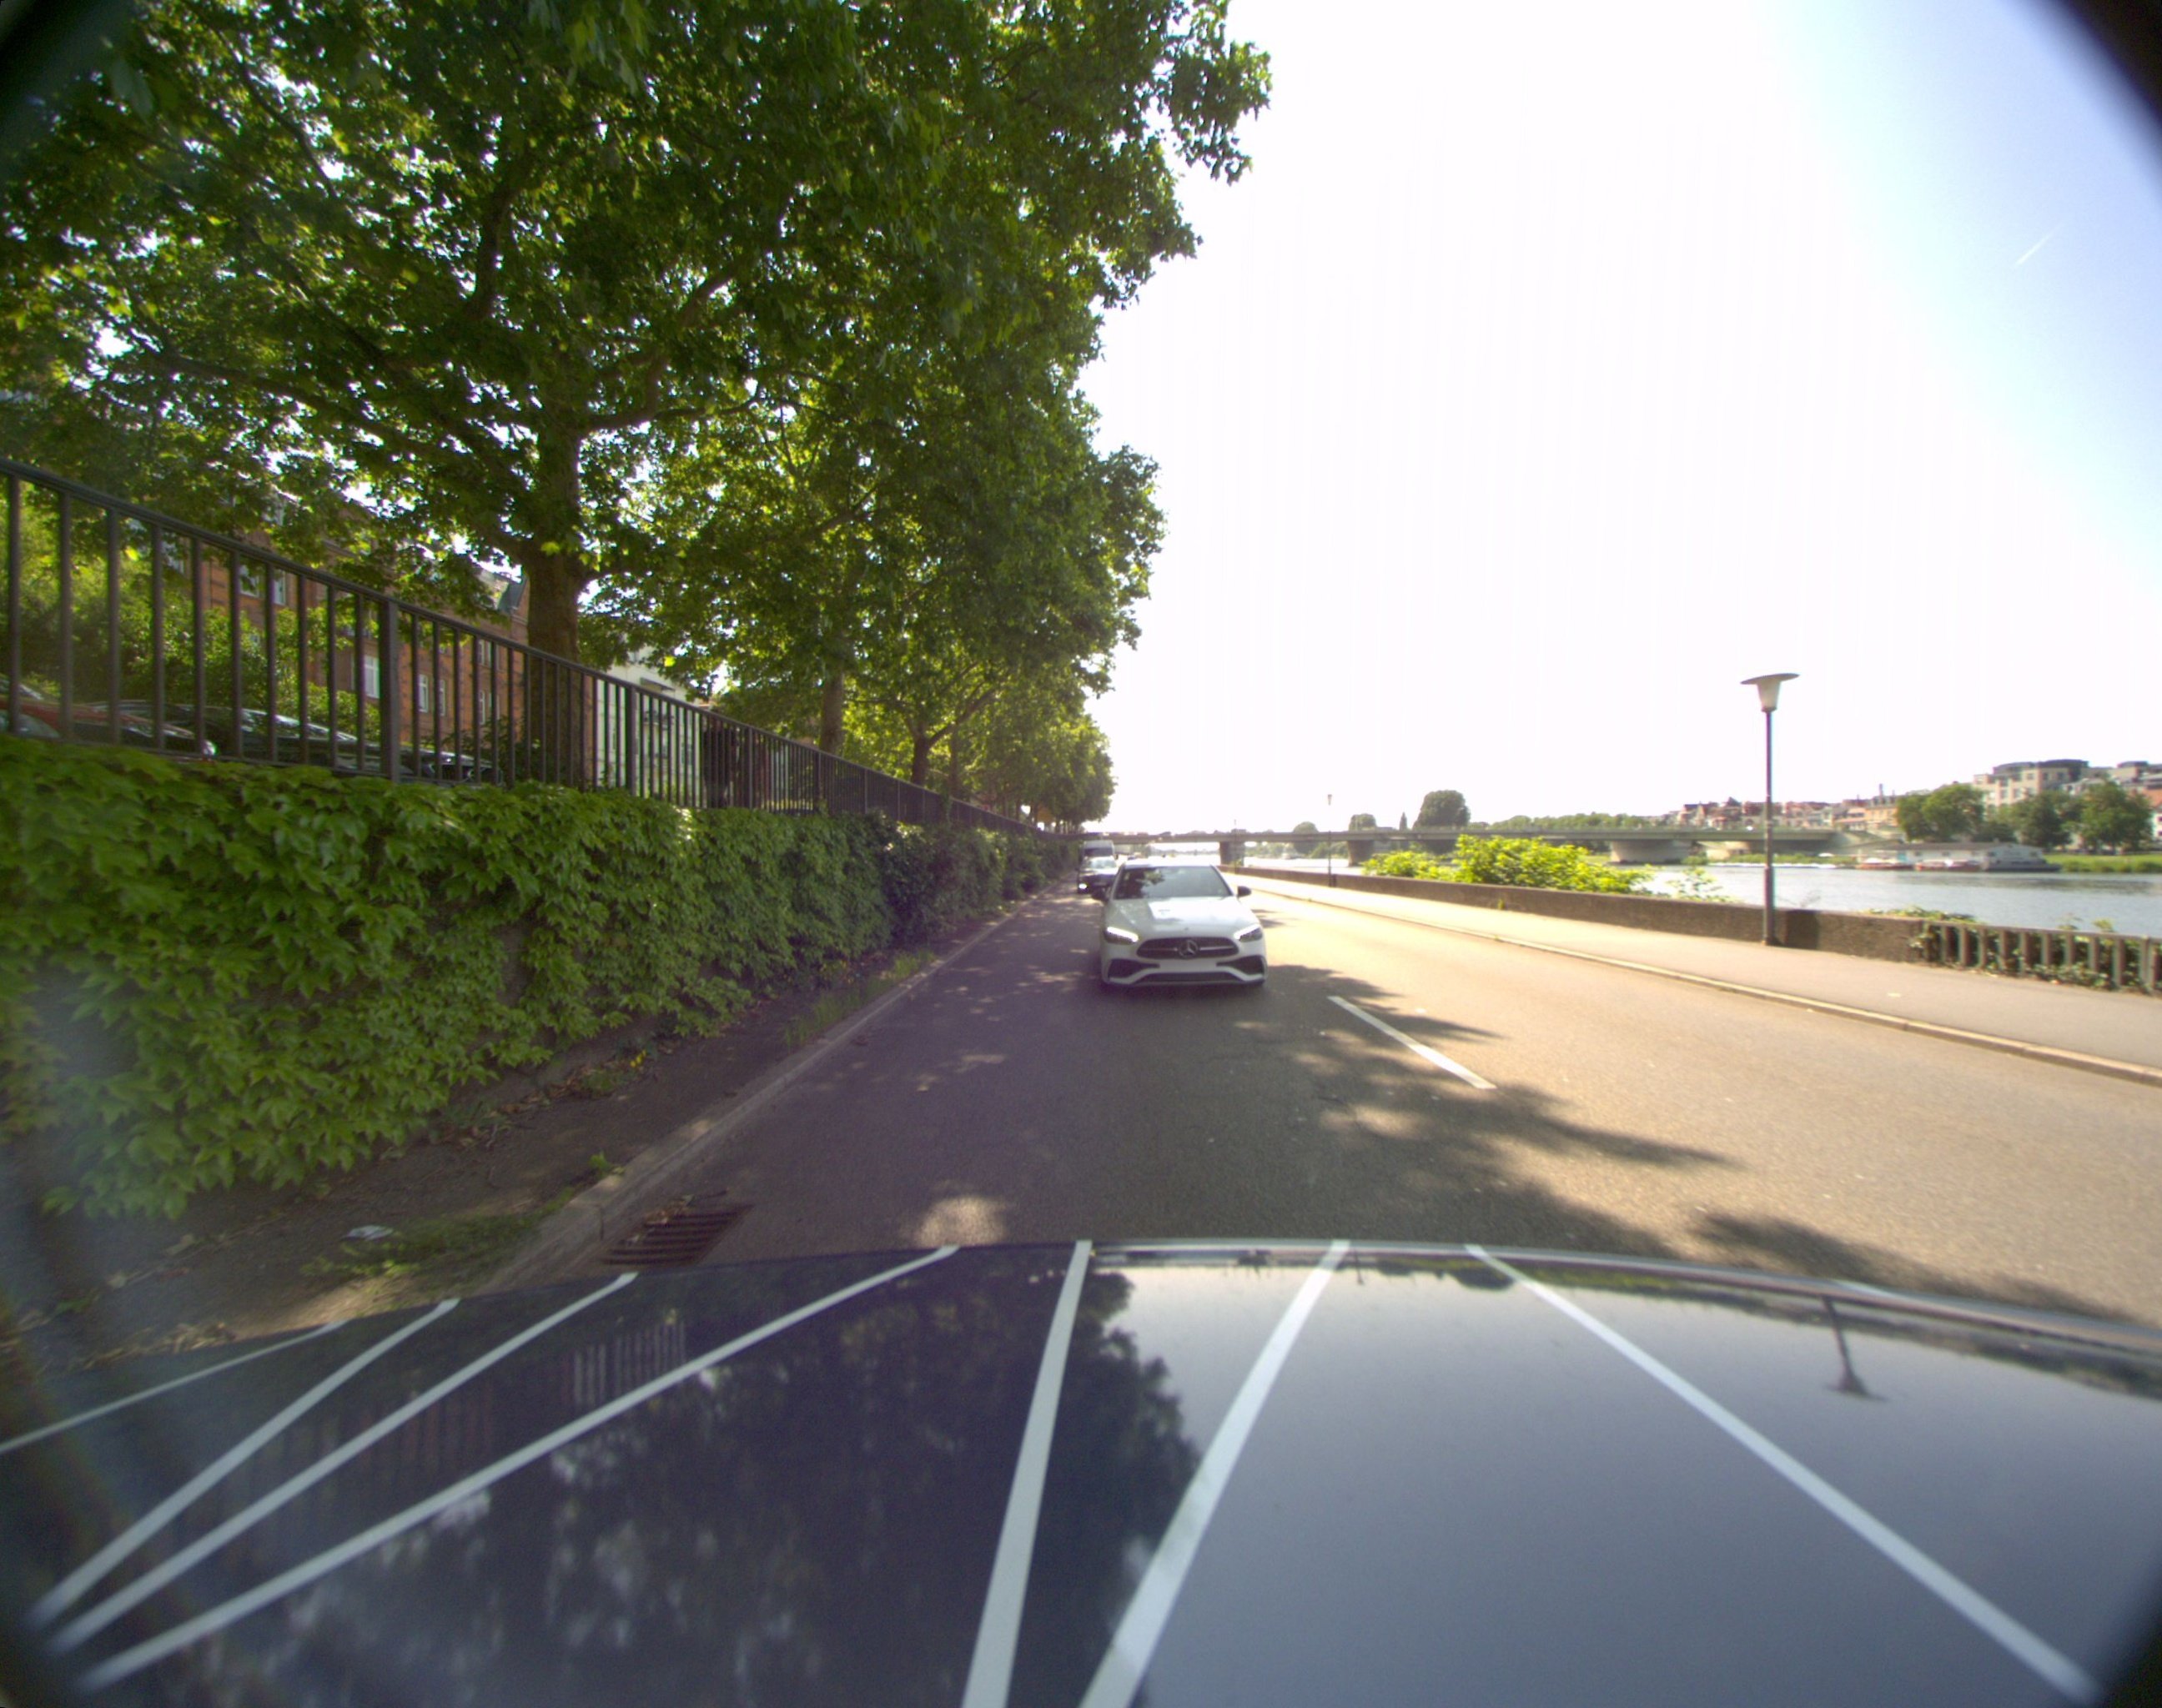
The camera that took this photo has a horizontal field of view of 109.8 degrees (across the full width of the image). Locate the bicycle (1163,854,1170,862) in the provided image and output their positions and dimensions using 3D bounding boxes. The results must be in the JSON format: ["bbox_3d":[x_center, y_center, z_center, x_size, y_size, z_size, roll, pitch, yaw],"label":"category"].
[{"bbox_3d":[11.189,0.521,99.308,0.654,0.977,1.944,-1,0,1],"label":"bicycle"}]

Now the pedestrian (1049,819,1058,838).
[{"bbox_3d":[-2.303,-2.156,63.541,0.666,1.582,0.765,0,1,1],"label":"pedestrian"}]

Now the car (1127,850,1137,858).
[{"bbox_3d":[9.525,0.060,142.198,1.676,1.433,3.901,-1,0,1],"label":"car"}]

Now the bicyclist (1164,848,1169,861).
[{"bbox_3d":[11.173,0.109,99.298,0.663,1.692,0.975,-1,1,1],"label":"bicyclist"}]

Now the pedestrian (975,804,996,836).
[{"bbox_3d":[-3.853,-1.371,30.708,0.713,1.236,0.742,0,1,1],"label":"pedestrian"}]

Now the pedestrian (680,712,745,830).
[{"bbox_3d":[-5.304,-1.174,10.972,0.649,1.630,0.626,0,1,-7],"label":"pedestrian"}]

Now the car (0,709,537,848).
[{"bbox_3d":[-7.541,-0.627,7.075,3.740,1.108,1.650,0,1,0],"label":"car"}]

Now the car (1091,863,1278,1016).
[{"bbox_3d":[1.092,0.889,9.874,1.830,1.411,4.552,-2,0,1],"label":"car"}]

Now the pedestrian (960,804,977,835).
[{"bbox_3d":[-4.564,-1.385,30.971,0.577,1.236,0.691,0,1,1],"label":"pedestrian"}]

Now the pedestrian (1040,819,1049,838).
[{"bbox_3d":[-3.017,-2.134,63.185,0.738,1.582,0.811,0,1,1],"label":"pedestrian"}]

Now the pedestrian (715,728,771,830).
[{"bbox_3d":[-4.890,-1.068,11.025,0.586,1.411,0.589,0,1,-7],"label":"pedestrian"}]

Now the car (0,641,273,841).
[{"bbox_3d":[-8.025,-0.645,4.916,3.740,1.108,1.650,0,1,-2],"label":"car"}]

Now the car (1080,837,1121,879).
[{"bbox_3d":[1.184,0.203,47.627,2.351,2.429,6.208,0,0,0],"label":"car"}]

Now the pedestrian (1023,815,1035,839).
[{"bbox_3d":[-3.427,-1.794,50.489,0.738,1.582,0.811,0,1,1],"label":"pedestrian"}]

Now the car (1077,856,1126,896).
[{"bbox_3d":[0.794,0.832,30.790,1.756,1.385,4.619,-4,0,0],"label":"car"}]

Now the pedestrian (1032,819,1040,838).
[{"bbox_3d":[-3.739,-2.129,62.998,0.666,1.582,0.651,0,1,1],"label":"pedestrian"}]
